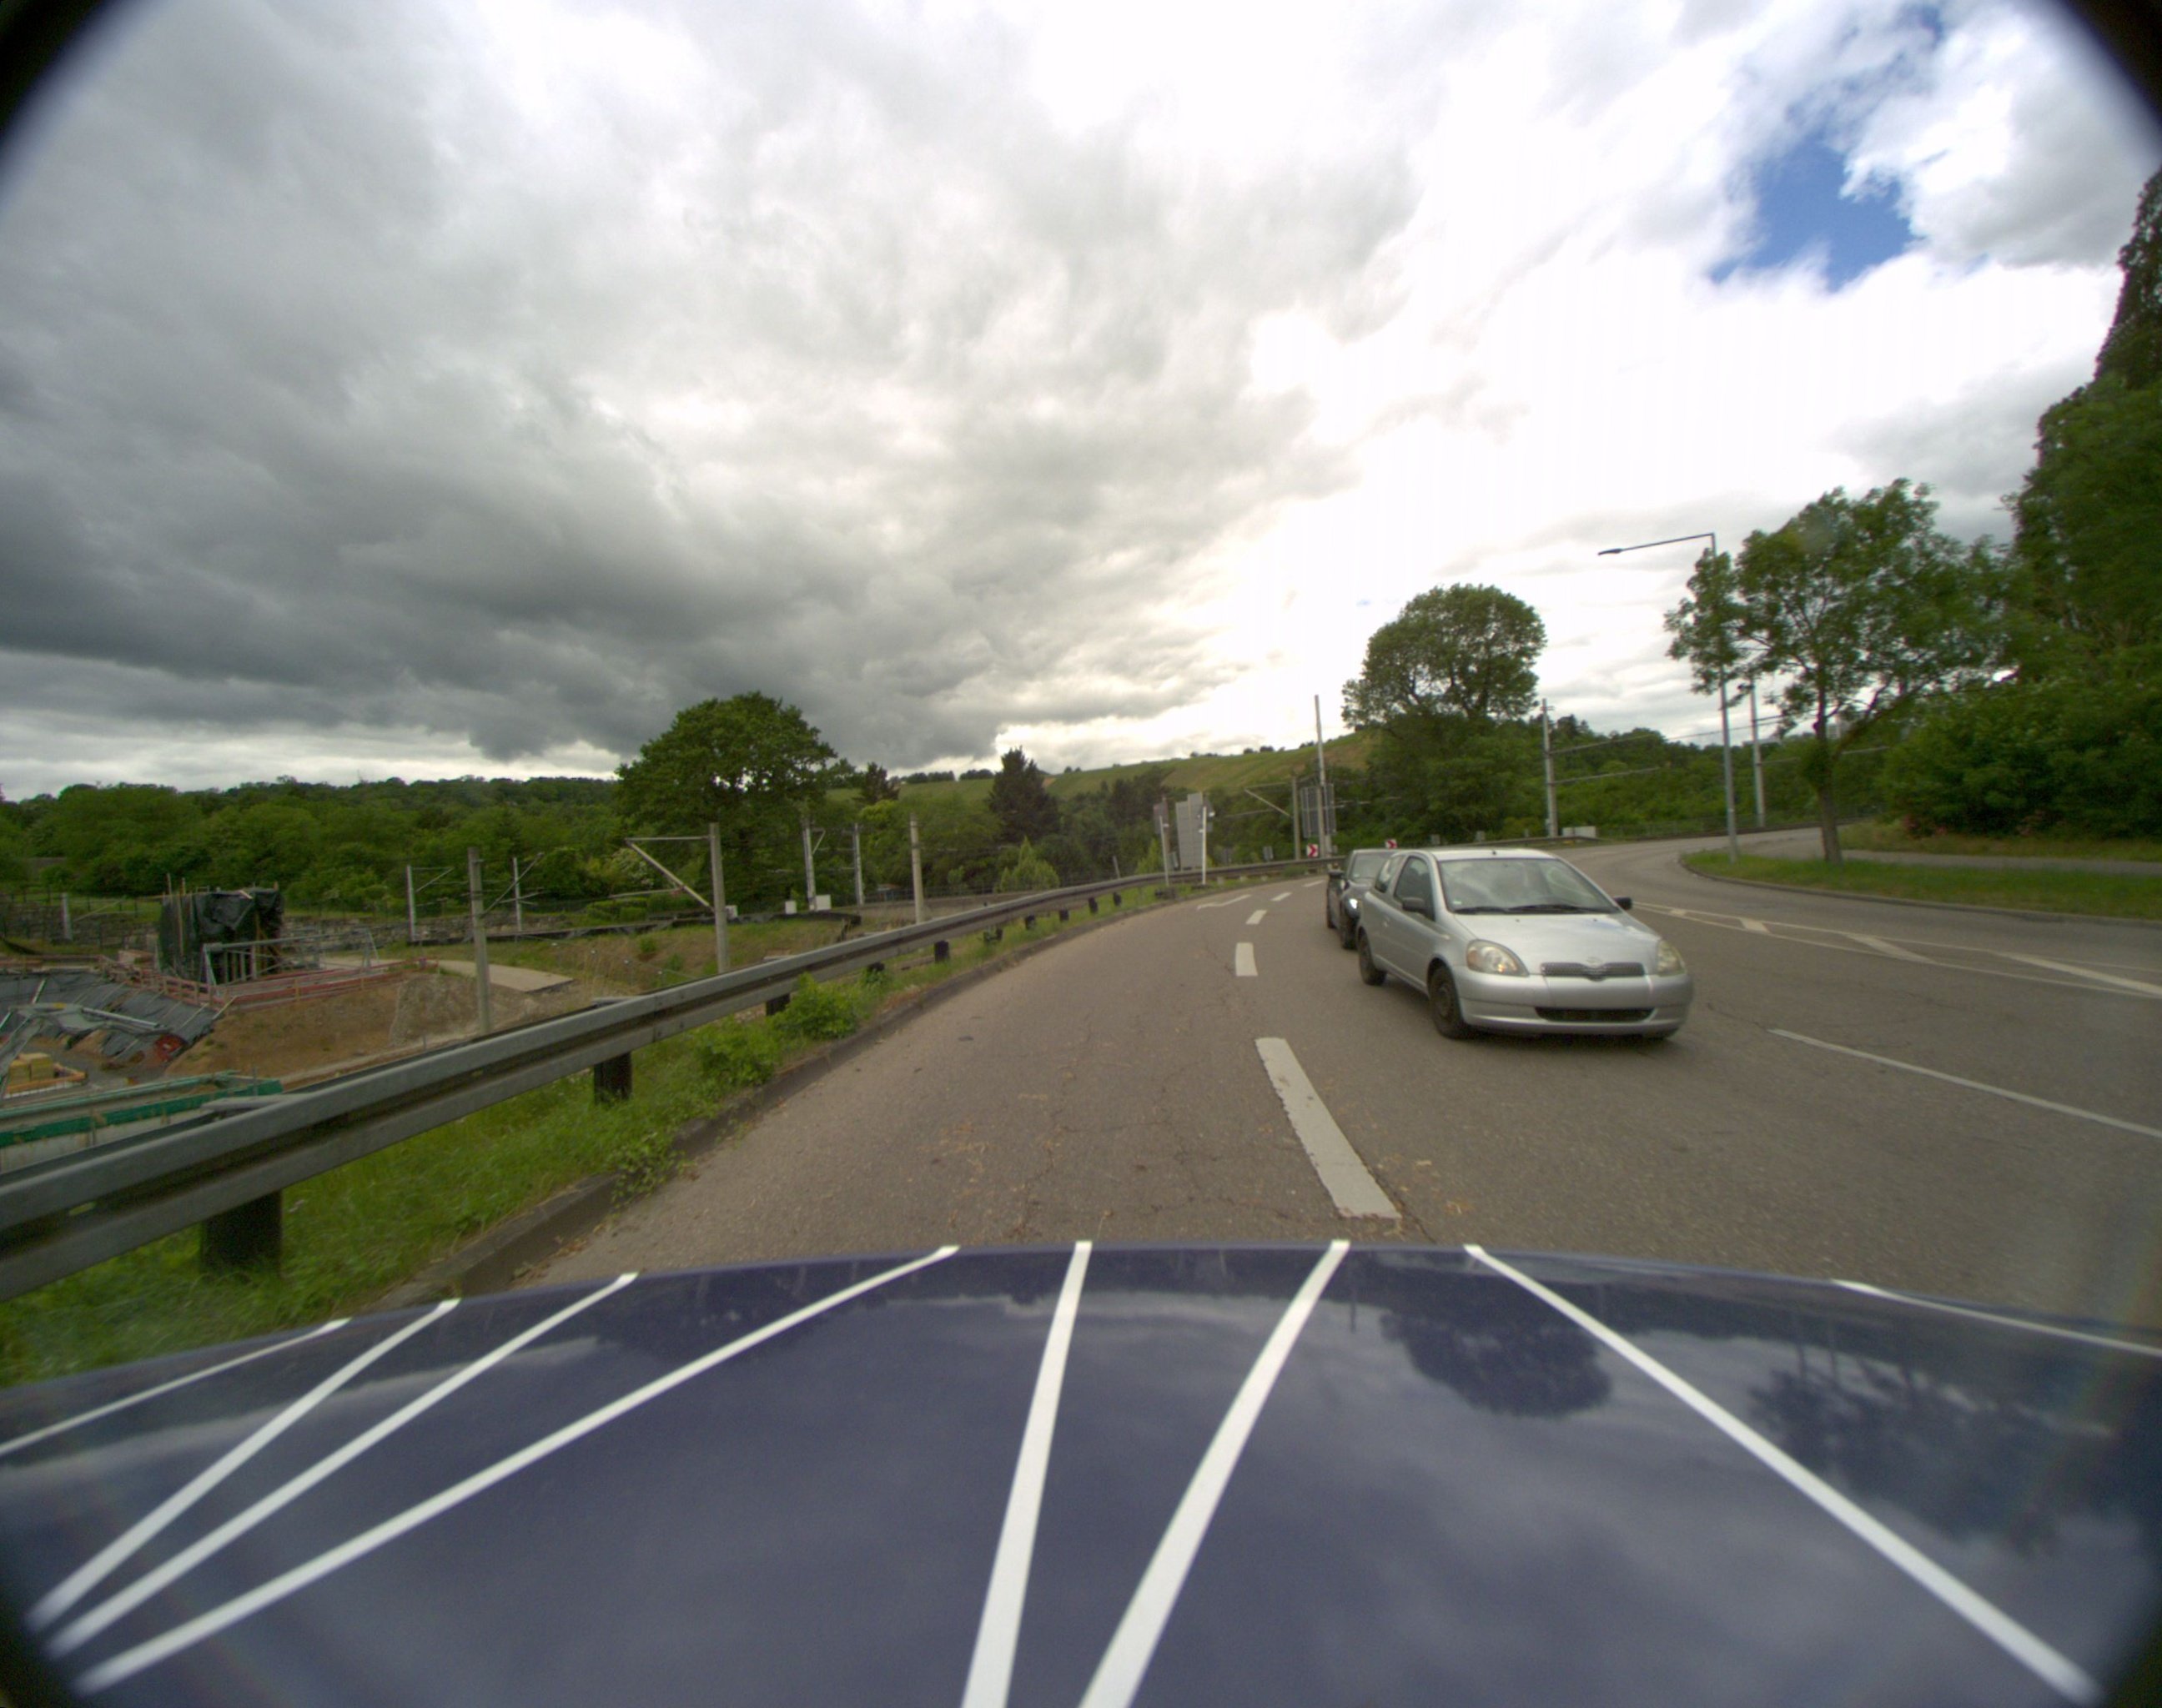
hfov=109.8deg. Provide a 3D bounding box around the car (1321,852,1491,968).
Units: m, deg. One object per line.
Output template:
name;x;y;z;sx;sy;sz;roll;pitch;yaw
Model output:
car;5.128;0.760;12.663;1.875;1.468;4.969;-1;1;15

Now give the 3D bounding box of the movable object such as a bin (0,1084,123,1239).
movable object such as a bin;-26.564;7.628;18.218;3.039;2.732;4.296;-3;-2;36

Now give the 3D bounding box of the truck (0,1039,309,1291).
truck;-23.353;6.869;14.684;2.841;3.870;11.637;-3;-1;19

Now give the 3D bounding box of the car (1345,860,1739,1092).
car;3.702;0.848;6.906;1.672;1.461;3.630;-2;0;7
